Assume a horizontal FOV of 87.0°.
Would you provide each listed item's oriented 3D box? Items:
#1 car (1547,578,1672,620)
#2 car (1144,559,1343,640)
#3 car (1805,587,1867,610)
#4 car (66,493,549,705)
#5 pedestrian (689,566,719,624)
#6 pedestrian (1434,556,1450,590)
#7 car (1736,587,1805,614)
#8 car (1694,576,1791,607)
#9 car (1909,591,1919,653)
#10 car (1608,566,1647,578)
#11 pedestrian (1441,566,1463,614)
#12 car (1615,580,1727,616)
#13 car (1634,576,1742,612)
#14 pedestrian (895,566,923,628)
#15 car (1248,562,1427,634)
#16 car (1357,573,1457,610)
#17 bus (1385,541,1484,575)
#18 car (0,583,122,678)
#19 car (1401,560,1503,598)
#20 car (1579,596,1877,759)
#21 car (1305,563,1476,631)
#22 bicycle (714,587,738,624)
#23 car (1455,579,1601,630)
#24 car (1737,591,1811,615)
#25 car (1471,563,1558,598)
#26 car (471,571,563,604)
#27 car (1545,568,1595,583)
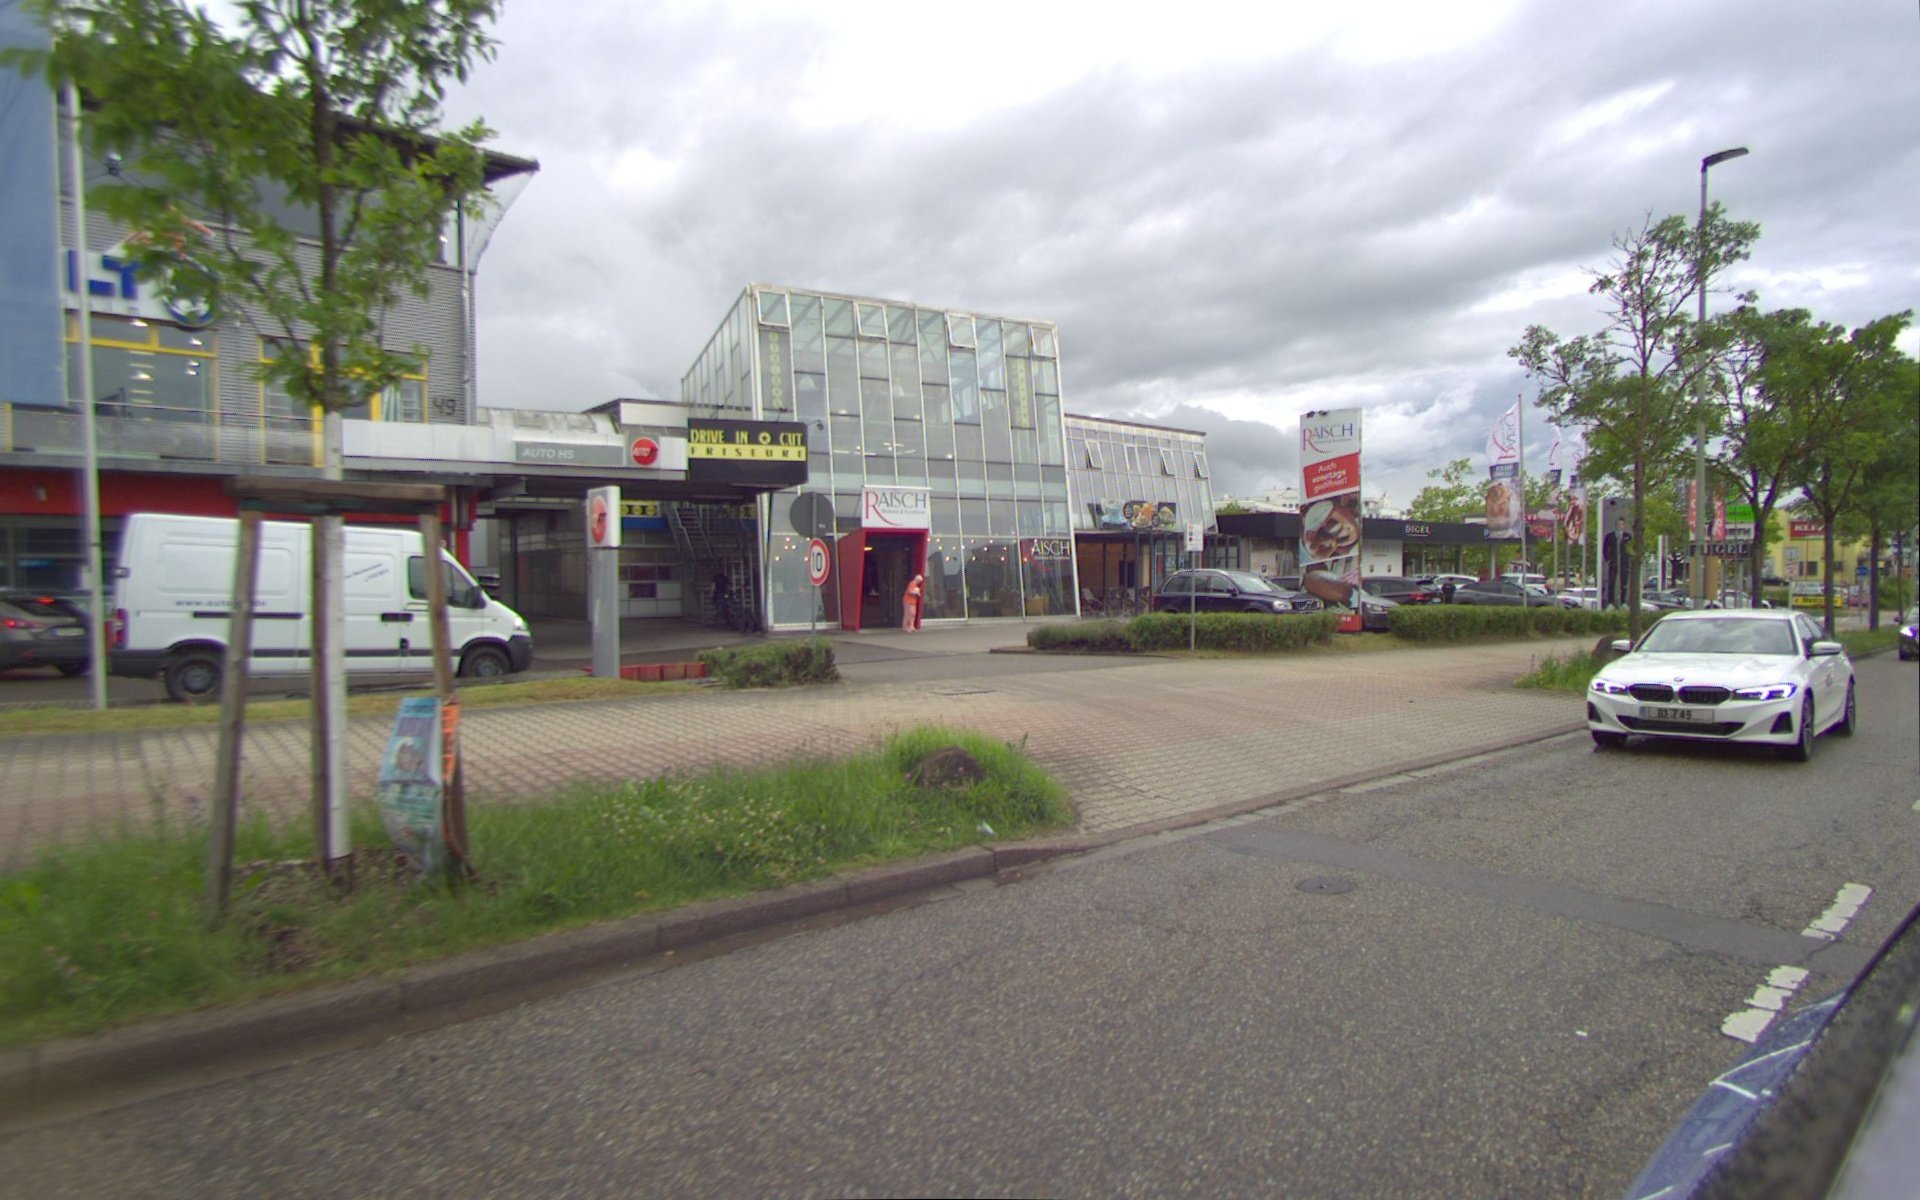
[{"bbox_3d":[28.226,-0.079,44.093,4.121,1.490,1.784,3,3,14],"label":"car"},{"bbox_3d":[6.832,-0.079,24.972,1.888,1.620,4.679,1,4,-30],"label":"car"},{"bbox_3d":[78.093,-0.158,90.294,3.980,1.834,1.744,3,2,38],"label":"car"},{"bbox_3d":[-9.311,0.064,14.915,5.576,2.570,2.232,2,-2,-39],"label":"car"},{"bbox_3d":[-8.123,-0.162,32.119,0.795,1.799,0.863,-1,1,-22],"label":"pedestrian"},{"bbox_3d":[29.022,-1.601,60.938,0.646,2.039,0.612,0,-1,-40],"label":"pedestrian"},{"bbox_3d":[52.224,0.014,65.307,1.715,1.599,3.864,2,1,9],"label":"car"},{"bbox_3d":[46.927,-0.515,60.732,4.237,1.598,1.743,3,3,4],"label":"car"},{"bbox_3d":[26.905,0.556,27.101,4.145,1.601,1.797,0,0,-42],"label":"car"},{"bbox_3d":[93.438,-3.880,141.719,1.791,1.601,4.219,0,2,-40],"label":"car"},{"bbox_3d":[18.881,-0.379,38.861,0.629,1.812,0.841,-1,-1,34],"label":"pedestrian"},{"bbox_3d":[33.970,-0.111,48.440,3.950,1.454,1.741,3,3,7],"label":"car"},{"bbox_3d":[38.088,-0.328,53.013,4.112,1.598,1.738,3,3,11],"label":"car"},{"bbox_3d":[-1.502,-0.102,29.919,0.735,1.781,0.686,-1,1,-8],"label":"pedestrian"},{"bbox_3d":[10.118,-0.112,27.396,1.794,1.620,4.183,0,4,-37],"label":"car"},{"bbox_3d":[21.548,-0.437,48.894,3.974,1.495,1.798,3,4,7],"label":"car"},{"bbox_3d":[57.341,-5.002,121.902,17.025,3.557,4.101,0,2,-40],"label":"bus"},{"bbox_3d":[-17.139,0.445,17.365,4.184,1.489,1.781,2,-1,5],"label":"car"},{"bbox_3d":[26.033,-1.133,53.705,4.429,1.701,1.795,3,5,12],"label":"car"},{"bbox_3d":[8.664,0.698,11.265,4.463,1.459,1.806,0,0,-42],"label":"car"},{"bbox_3d":[12.365,-0.150,29.318,1.767,1.620,4.183,0,4,-37],"label":"car"},{"bbox_3d":[-7.472,0.149,32.292,0.490,1.121,1.804,-1,2,-21],"label":"bicycle"},{"bbox_3d":[20.481,0.110,36.630,1.830,1.490,4.179,0,4,-40],"label":"car"},{"bbox_3d":[58.090,0.200,72.225,3.988,1.528,1.716,1,3,45],"label":"car"},{"bbox_3d":[33.039,-1.168,60.359,4.044,1.766,1.799,3,4,6],"label":"car"},{"bbox_3d":[-21.282,-0.586,48.638,3.918,1.529,1.803,0,1,-27],"label":"car"},{"bbox_3d":[78.081,-3.181,129.487,1.999,1.820,5.091,0,2,-40],"label":"car"}]
